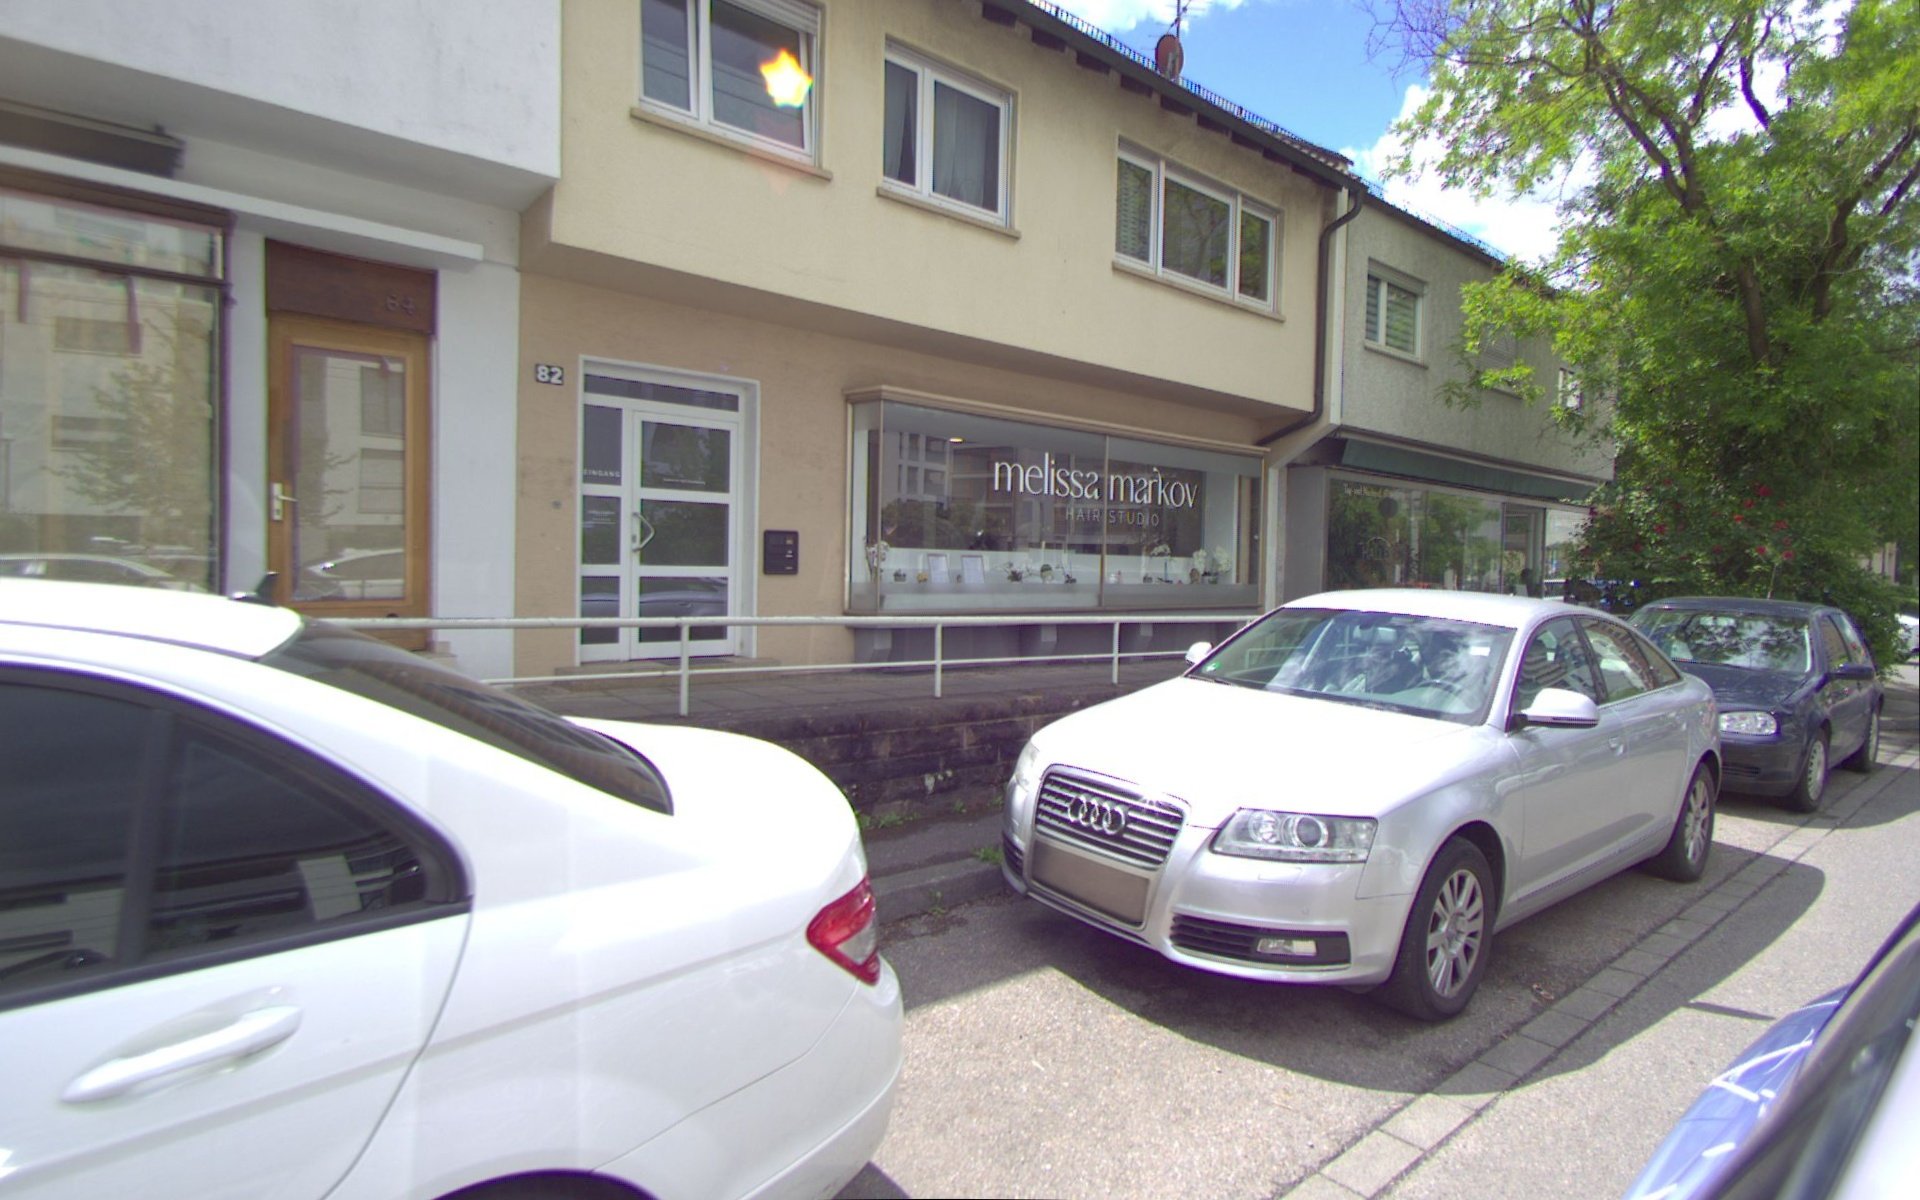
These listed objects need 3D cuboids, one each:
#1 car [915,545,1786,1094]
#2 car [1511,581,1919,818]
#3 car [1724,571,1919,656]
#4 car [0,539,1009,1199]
[{"bbox_3d":[2.266,0.570,5.008,4.821,1.517,1.819,0,2,-38],"label":"car"},{"bbox_3d":[6.418,0.616,8.397,3.967,1.481,1.819,0,2,-38],"label":"car"},{"bbox_3d":[19.744,0.241,22.704,1.804,1.590,3.656,0,4,-28],"label":"car"},{"bbox_3d":[-2.137,0.635,1.169,4.367,1.444,1.728,0,2,-40],"label":"car"}]
